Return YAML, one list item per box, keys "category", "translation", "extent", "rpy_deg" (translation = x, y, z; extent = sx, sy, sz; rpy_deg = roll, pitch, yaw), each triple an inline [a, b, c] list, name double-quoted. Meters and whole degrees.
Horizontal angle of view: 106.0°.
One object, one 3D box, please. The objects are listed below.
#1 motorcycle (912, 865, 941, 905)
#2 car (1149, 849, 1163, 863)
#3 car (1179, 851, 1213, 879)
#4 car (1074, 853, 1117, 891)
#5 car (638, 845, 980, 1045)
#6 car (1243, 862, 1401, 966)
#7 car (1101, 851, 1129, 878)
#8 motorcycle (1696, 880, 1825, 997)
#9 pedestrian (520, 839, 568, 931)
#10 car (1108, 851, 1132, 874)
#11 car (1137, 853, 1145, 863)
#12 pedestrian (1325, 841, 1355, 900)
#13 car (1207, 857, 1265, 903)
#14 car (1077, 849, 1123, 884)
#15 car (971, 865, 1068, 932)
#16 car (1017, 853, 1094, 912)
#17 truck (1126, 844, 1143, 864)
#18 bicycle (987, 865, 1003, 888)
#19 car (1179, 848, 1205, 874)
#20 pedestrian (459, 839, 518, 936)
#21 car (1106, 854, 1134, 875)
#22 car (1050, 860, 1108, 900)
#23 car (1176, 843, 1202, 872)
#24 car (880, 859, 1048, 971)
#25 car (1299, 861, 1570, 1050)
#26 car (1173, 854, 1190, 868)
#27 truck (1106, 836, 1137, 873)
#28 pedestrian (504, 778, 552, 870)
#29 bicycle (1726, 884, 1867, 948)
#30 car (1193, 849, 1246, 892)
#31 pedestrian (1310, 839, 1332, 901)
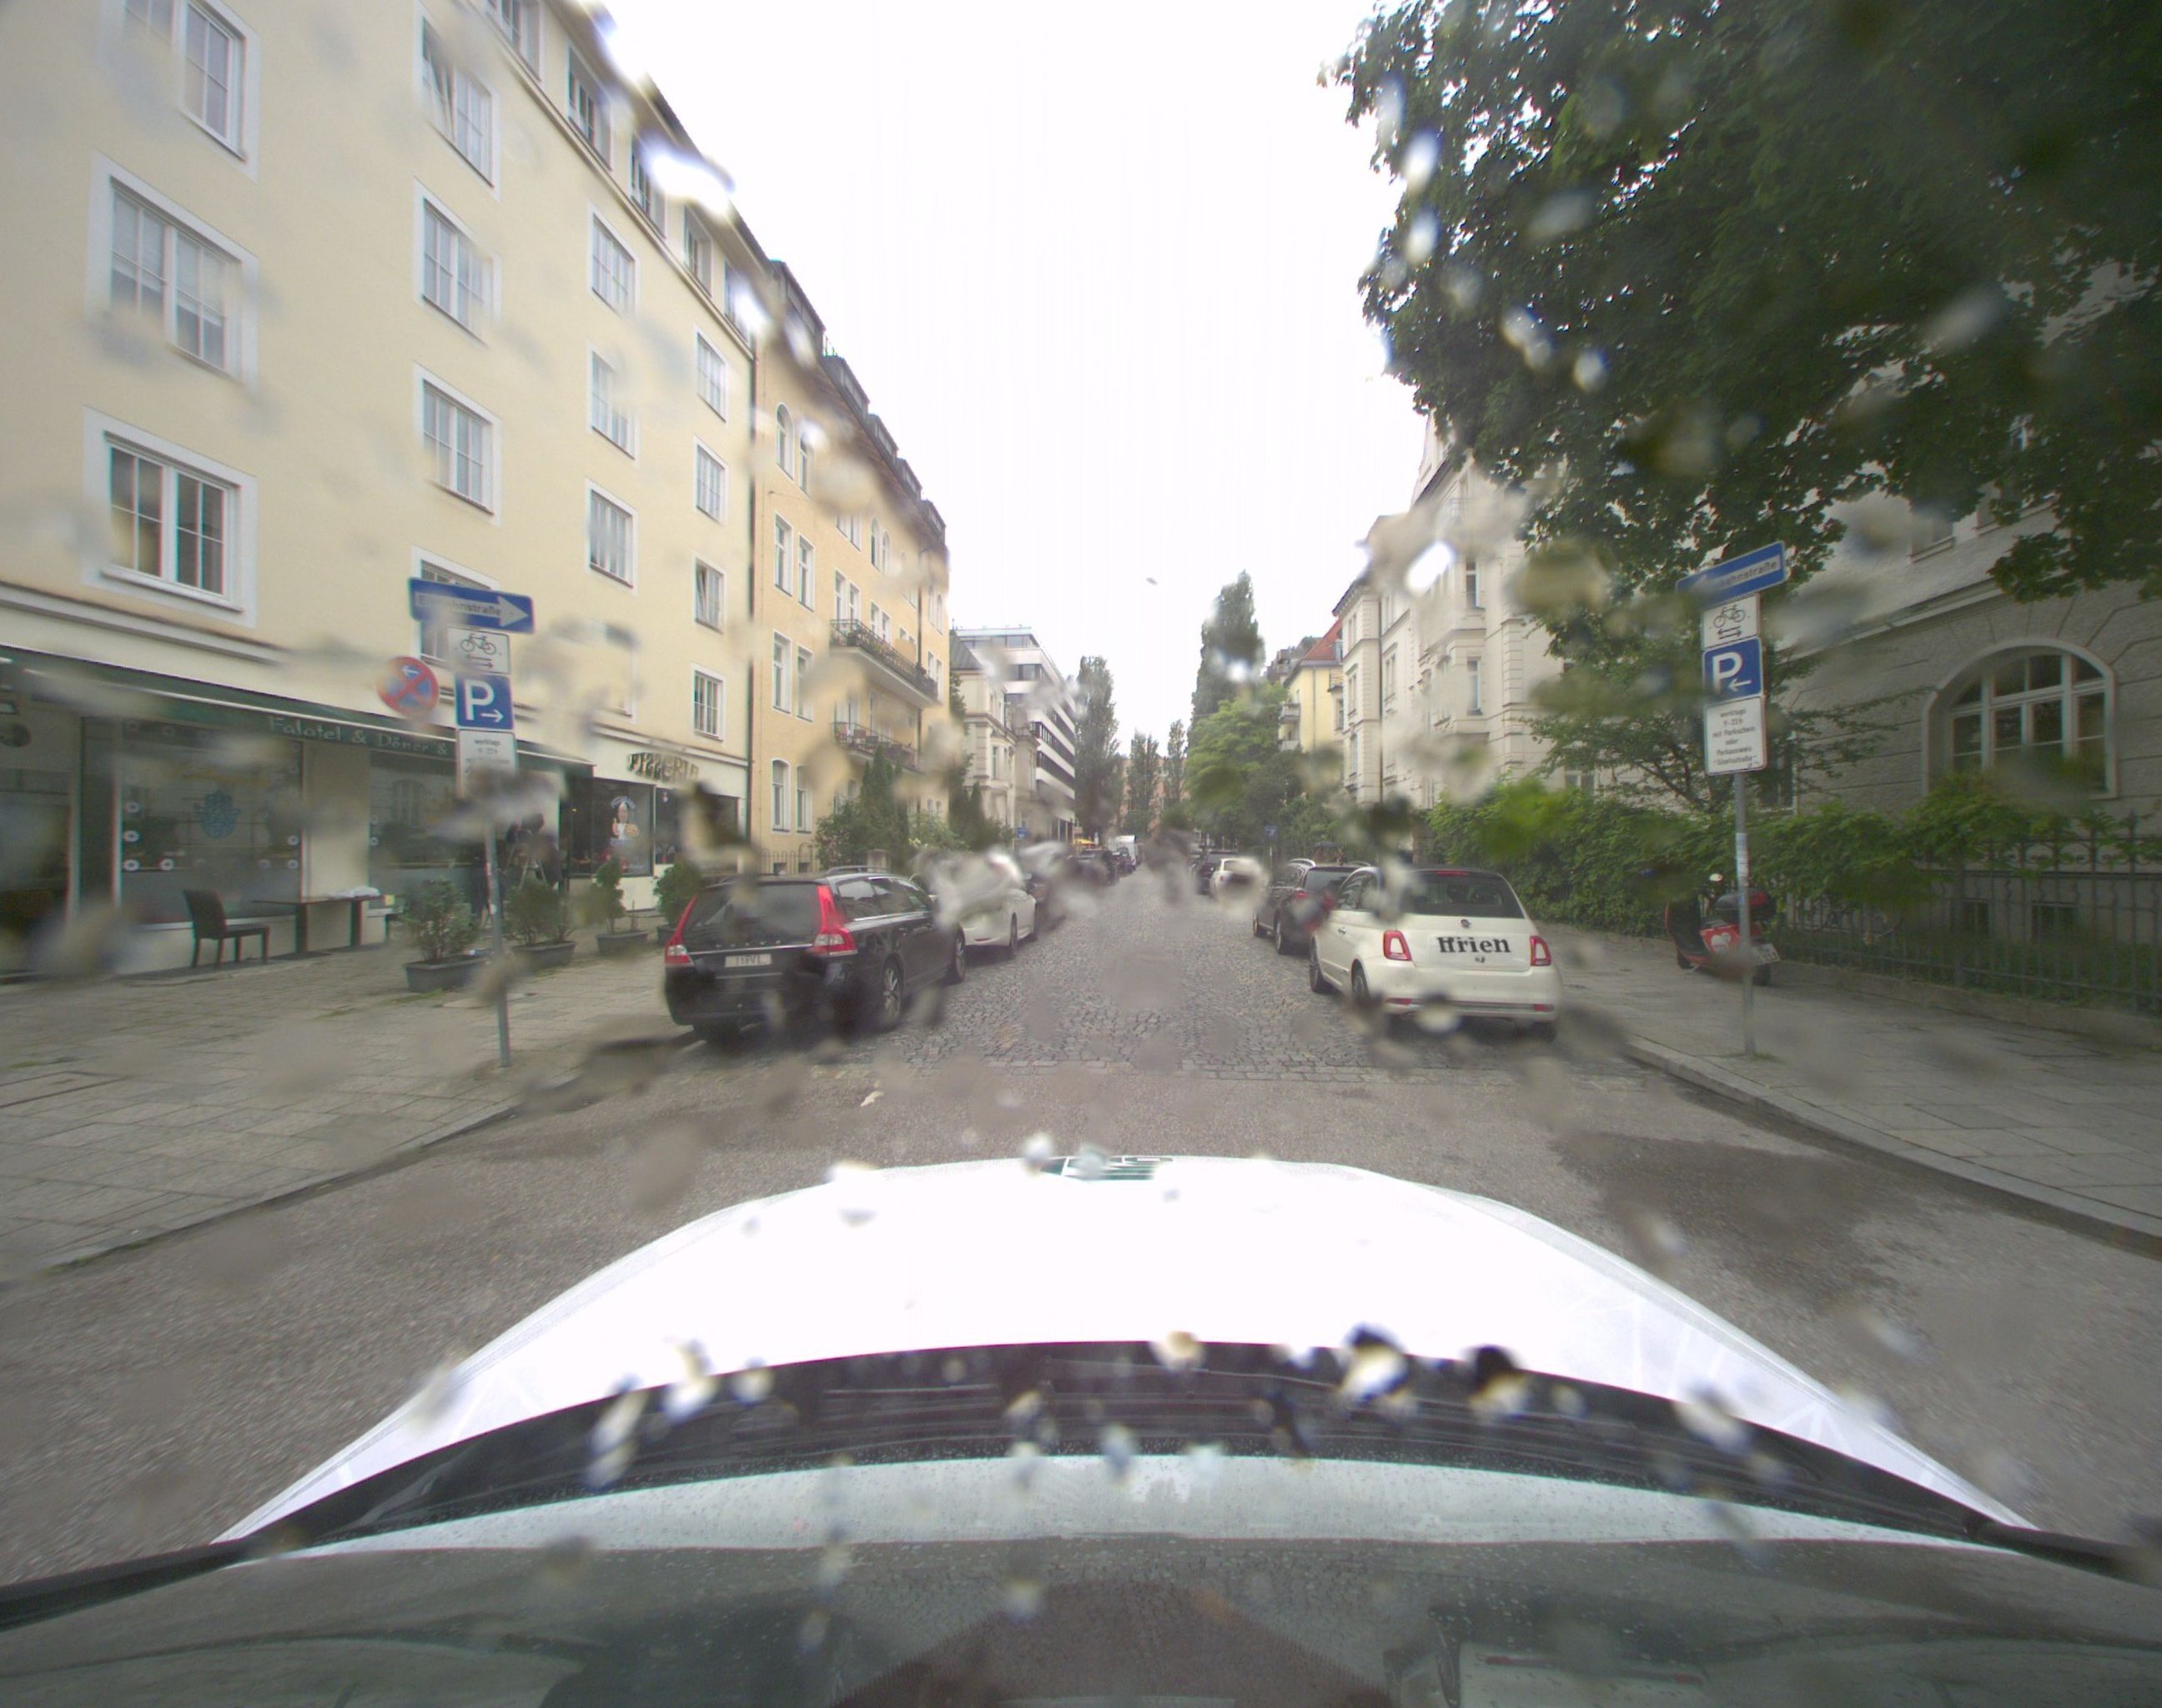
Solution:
- category: "motorcycle"
  translation: [-4.785, 0.949, 25.309]
  extent: [0.488, 1.194, 1.581]
  rpy_deg: [0, 0, 5]
- category: "car"
  translation: [11.252, 0.308, 122.132]
  extent: [1.986, 1.936, 4.007]
  rpy_deg: [0, -1, 7]
- category: "car"
  translation: [7.625, 0.702, 54.223]
  extent: [1.954, 1.759, 4.960]
  rpy_deg: [0, -1, 5]
- category: "car"
  translation: [0.705, 0.810, 37.366]
  extent: [1.572, 1.590, 4.062]
  rpy_deg: [-2, -1, 6]
- category: "car"
  translation: [-2.480, 0.744, 8.896]
  extent: [1.844, 1.586, 4.753]
  rpy_deg: [0, -1, 4]
- category: "car"
  translation: [3.996, 0.898, 14.264]
  extent: [1.640, 1.422, 4.637]
  rpy_deg: [3, 0, 4]
- category: "car"
  translation: [2.341, 0.703, 55.584]
  extent: [1.765, 1.718, 4.396]
  rpy_deg: [0, -1, 4]
- category: "motorcycle"
  translation: [7.120, 0.839, 8.603]
  extent: [0.360, 1.090, 1.406]
  rpy_deg: [0, -1, 8]
- category: "pedestrian"
  translation: [-10.091, 0.579, 15.317]
  extent: [0.459, 1.690, 0.575]
  rpy_deg: [0, -1, 5]
- category: "car"
  translation: [3.221, 0.668, 66.081]
  extent: [1.886, 1.751, 4.172]
  rpy_deg: [0, 0, 4]
- category: "car"
  translation: [9.329, 0.557, 126.593]
  extent: [1.270, 1.541, 3.123]
  rpy_deg: [0, -1, 5]
- category: "pedestrian"
  translation: [8.040, 0.514, 25.279]
  extent: [0.630, 1.808, 0.656]
  rpy_deg: [1, -1, -18]
- category: "car"
  translation: [5.405, 0.878, 28.720]
  extent: [1.622, 1.469, 3.664]
  rpy_deg: [2, 0, 5]
- category: "car"
  translation: [1.060, 0.603, 42.268]
  extent: [1.972, 1.737, 4.731]
  rpy_deg: [0, 0, 6]
- category: "car"
  translation: [-1.304, 0.945, 19.055]
  extent: [1.767, 1.359, 4.393]
  rpy_deg: [0, -1, 2]
- category: "car"
  translation: [-0.685, 0.815, 25.011]
  extent: [1.764, 1.647, 4.398]
  rpy_deg: [0, -1, 6]
- category: "truck"
  translation: [6.621, 0.026, 100.684]
  extent: [1.984, 2.347, 4.074]
  rpy_deg: [0, -1, 5]
- category: "bicycle"
  translation: [-3.893, 1.012, 36.933]
  extent: [0.350, 1.003, 1.575]
  rpy_deg: [0, -1, 7]
- category: "car"
  translation: [9.123, 0.576, 67.372]
  extent: [1.792, 1.949, 4.866]
  rpy_deg: [3, 0, 5]
- category: "pedestrian"
  translation: [-10.289, 0.565, 14.156]
  extent: [0.519, 1.642, 0.630]
  rpy_deg: [0, -1, 5]
- category: "car"
  translation: [2.942, 0.770, 60.747]
  extent: [1.931, 1.459, 4.062]
  rpy_deg: [0, -1, 4]
- category: "car"
  translation: [0.001, 0.934, 31.226]
  extent: [1.765, 1.429, 4.397]
  rpy_deg: [0, -1, 5]
- category: "car"
  translation: [9.613, 0.257, 72.999]
  extent: [1.886, 2.426, 5.618]
  rpy_deg: [4, 1, 5]
- category: "car"
  translation: [-1.753, 0.892, 13.797]
  extent: [1.765, 1.536, 4.547]
  rpy_deg: [-2, -1, 5]
- category: "car"
  translation: [3.280, 0.814, 8.314]
  extent: [1.494, 1.471, 3.802]
  rpy_deg: [0, -1, 6]
- category: "car"
  translation: [10.518, 0.755, 85.412]
  extent: [1.592, 1.486, 3.483]
  rpy_deg: [0, -1, 5]
- category: "truck"
  translation: [3.634, 0.062, 72.129]
  extent: [2.497, 3.031, 6.392]
  rpy_deg: [-2, 0, 4]
- category: "pedestrian"
  translation: [-10.012, -0.534, 14.752]
  extent: [0.474, 1.642, 0.498]
  rpy_deg: [0, -1, 9]
- category: "bicycle"
  translation: [10.833, 0.901, 12.445]
  extent: [0.488, 0.812, 2.279]
  rpy_deg: [0, -1, 10]
- category: "car"
  translation: [5.699, 0.653, 34.089]
  extent: [1.865, 1.673, 5.500]
  rpy_deg: [0, -1, 6]
- category: "pedestrian"
  translation: [7.318, 0.484, 24.851]
  extent: [0.572, 1.850, 0.684]
  rpy_deg: [-1, 0, 13]
